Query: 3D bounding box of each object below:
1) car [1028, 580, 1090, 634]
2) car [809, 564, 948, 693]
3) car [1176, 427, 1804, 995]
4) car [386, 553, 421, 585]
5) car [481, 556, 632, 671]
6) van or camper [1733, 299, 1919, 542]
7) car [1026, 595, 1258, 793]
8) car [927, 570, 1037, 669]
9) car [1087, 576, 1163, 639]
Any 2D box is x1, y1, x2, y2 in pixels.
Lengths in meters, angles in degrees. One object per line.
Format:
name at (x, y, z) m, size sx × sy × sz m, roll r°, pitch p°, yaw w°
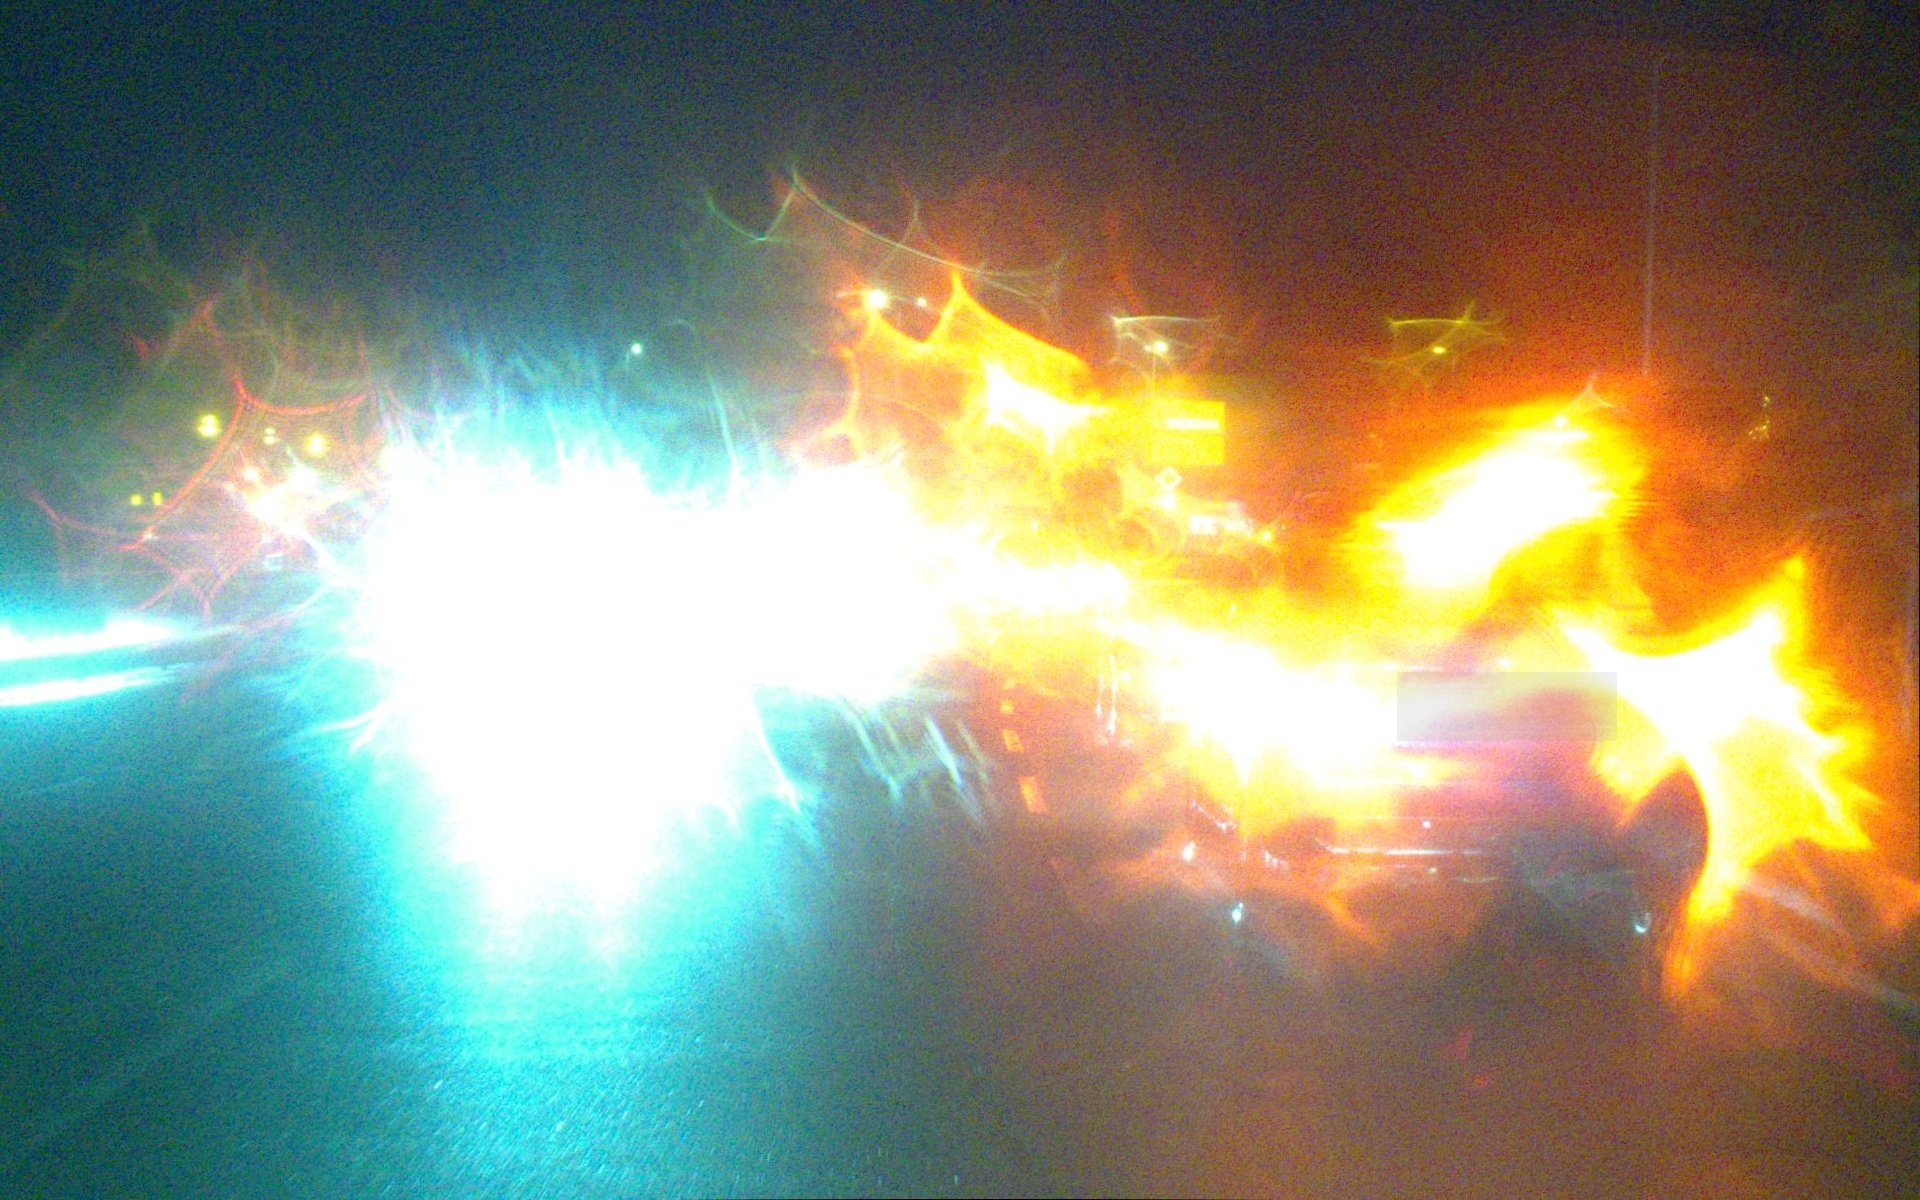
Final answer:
car at (2.776, 0.205, 95.620) m, size 1.663 × 1.445 × 4.049 m, roll 1°, pitch 0°, yaw 2°
car at (-1.060, 0.368, 46.369) m, size 1.694 × 1.624 × 3.852 m, roll 2°, pitch 0°, yaw 1°
car at (1.999, 0.362, 14.224) m, size 1.942 × 1.965 × 4.218 m, roll 1°, pitch 1°, yaw 1°
car at (-34.441, -1.927, 212.904) m, size 1.993 × 1.905 × 4.744 m, roll 1°, pitch 0°, yaw -8°
car at (-5.458, 0.145, 46.893) m, size 1.694 × 1.429 × 4.294 m, roll 2°, pitch 1°, yaw -3°
van or camper at (12.485, -2.206, 43.258) m, size 2.579 × 2.898 × 6.361 m, roll 0°, pitch 1°, yaw -17°
car at (1.495, 0.724, 28.724) m, size 1.768 × 1.445 × 4.218 m, roll 1°, pitch 1°, yaw 2°
car at (0.408, 0.315, 59.800) m, size 1.709 × 1.632 × 3.730 m, roll 0°, pitch 1°, yaw 3°
car at (3.958, 0.173, 82.079) m, size 1.663 × 1.445 × 4.049 m, roll 1°, pitch 0°, yaw 5°
